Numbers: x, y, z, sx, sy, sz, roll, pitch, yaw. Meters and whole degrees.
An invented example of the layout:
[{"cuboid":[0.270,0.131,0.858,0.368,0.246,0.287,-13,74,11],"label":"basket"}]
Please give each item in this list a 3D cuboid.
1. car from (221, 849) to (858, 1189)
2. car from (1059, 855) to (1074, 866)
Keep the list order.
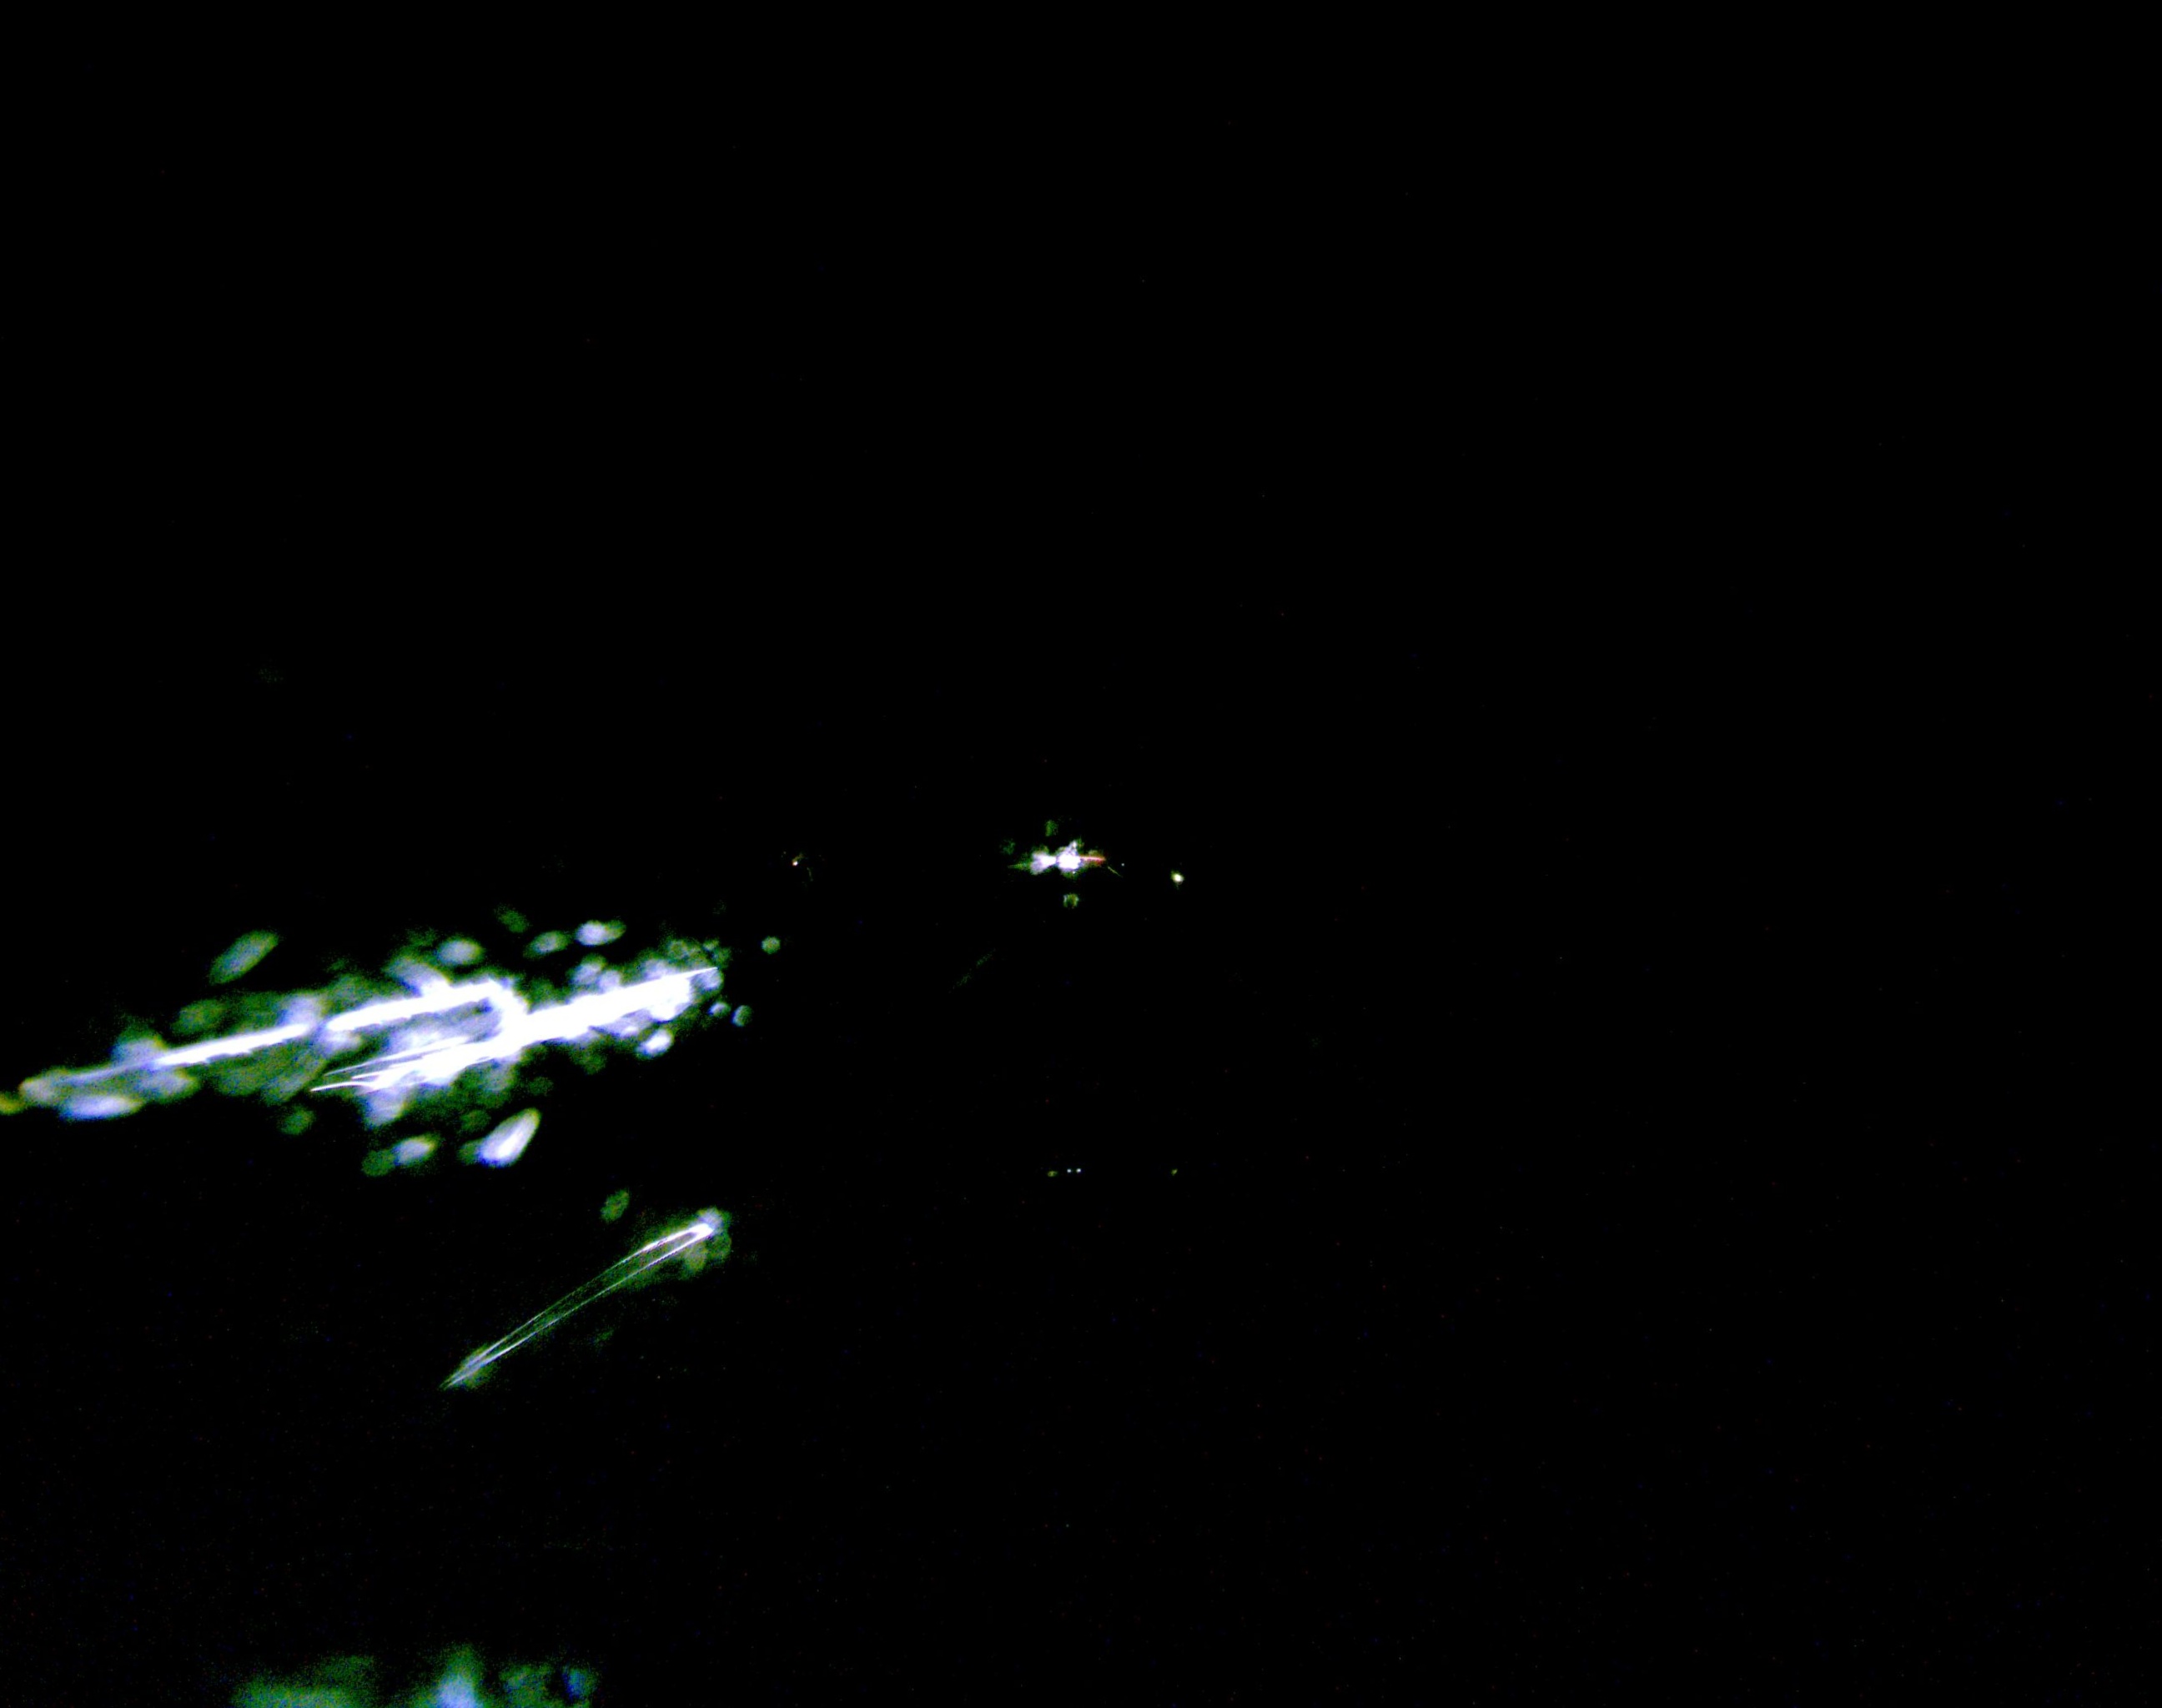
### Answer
[{"cuboid":[-3.034,0.776,5.669,1.823,1.568,3.781,0,0,1],"label":"car"},{"cuboid":[-2.112,0.915,120.806,2.090,1.639,4.455,0,0,0],"label":"car"}]
